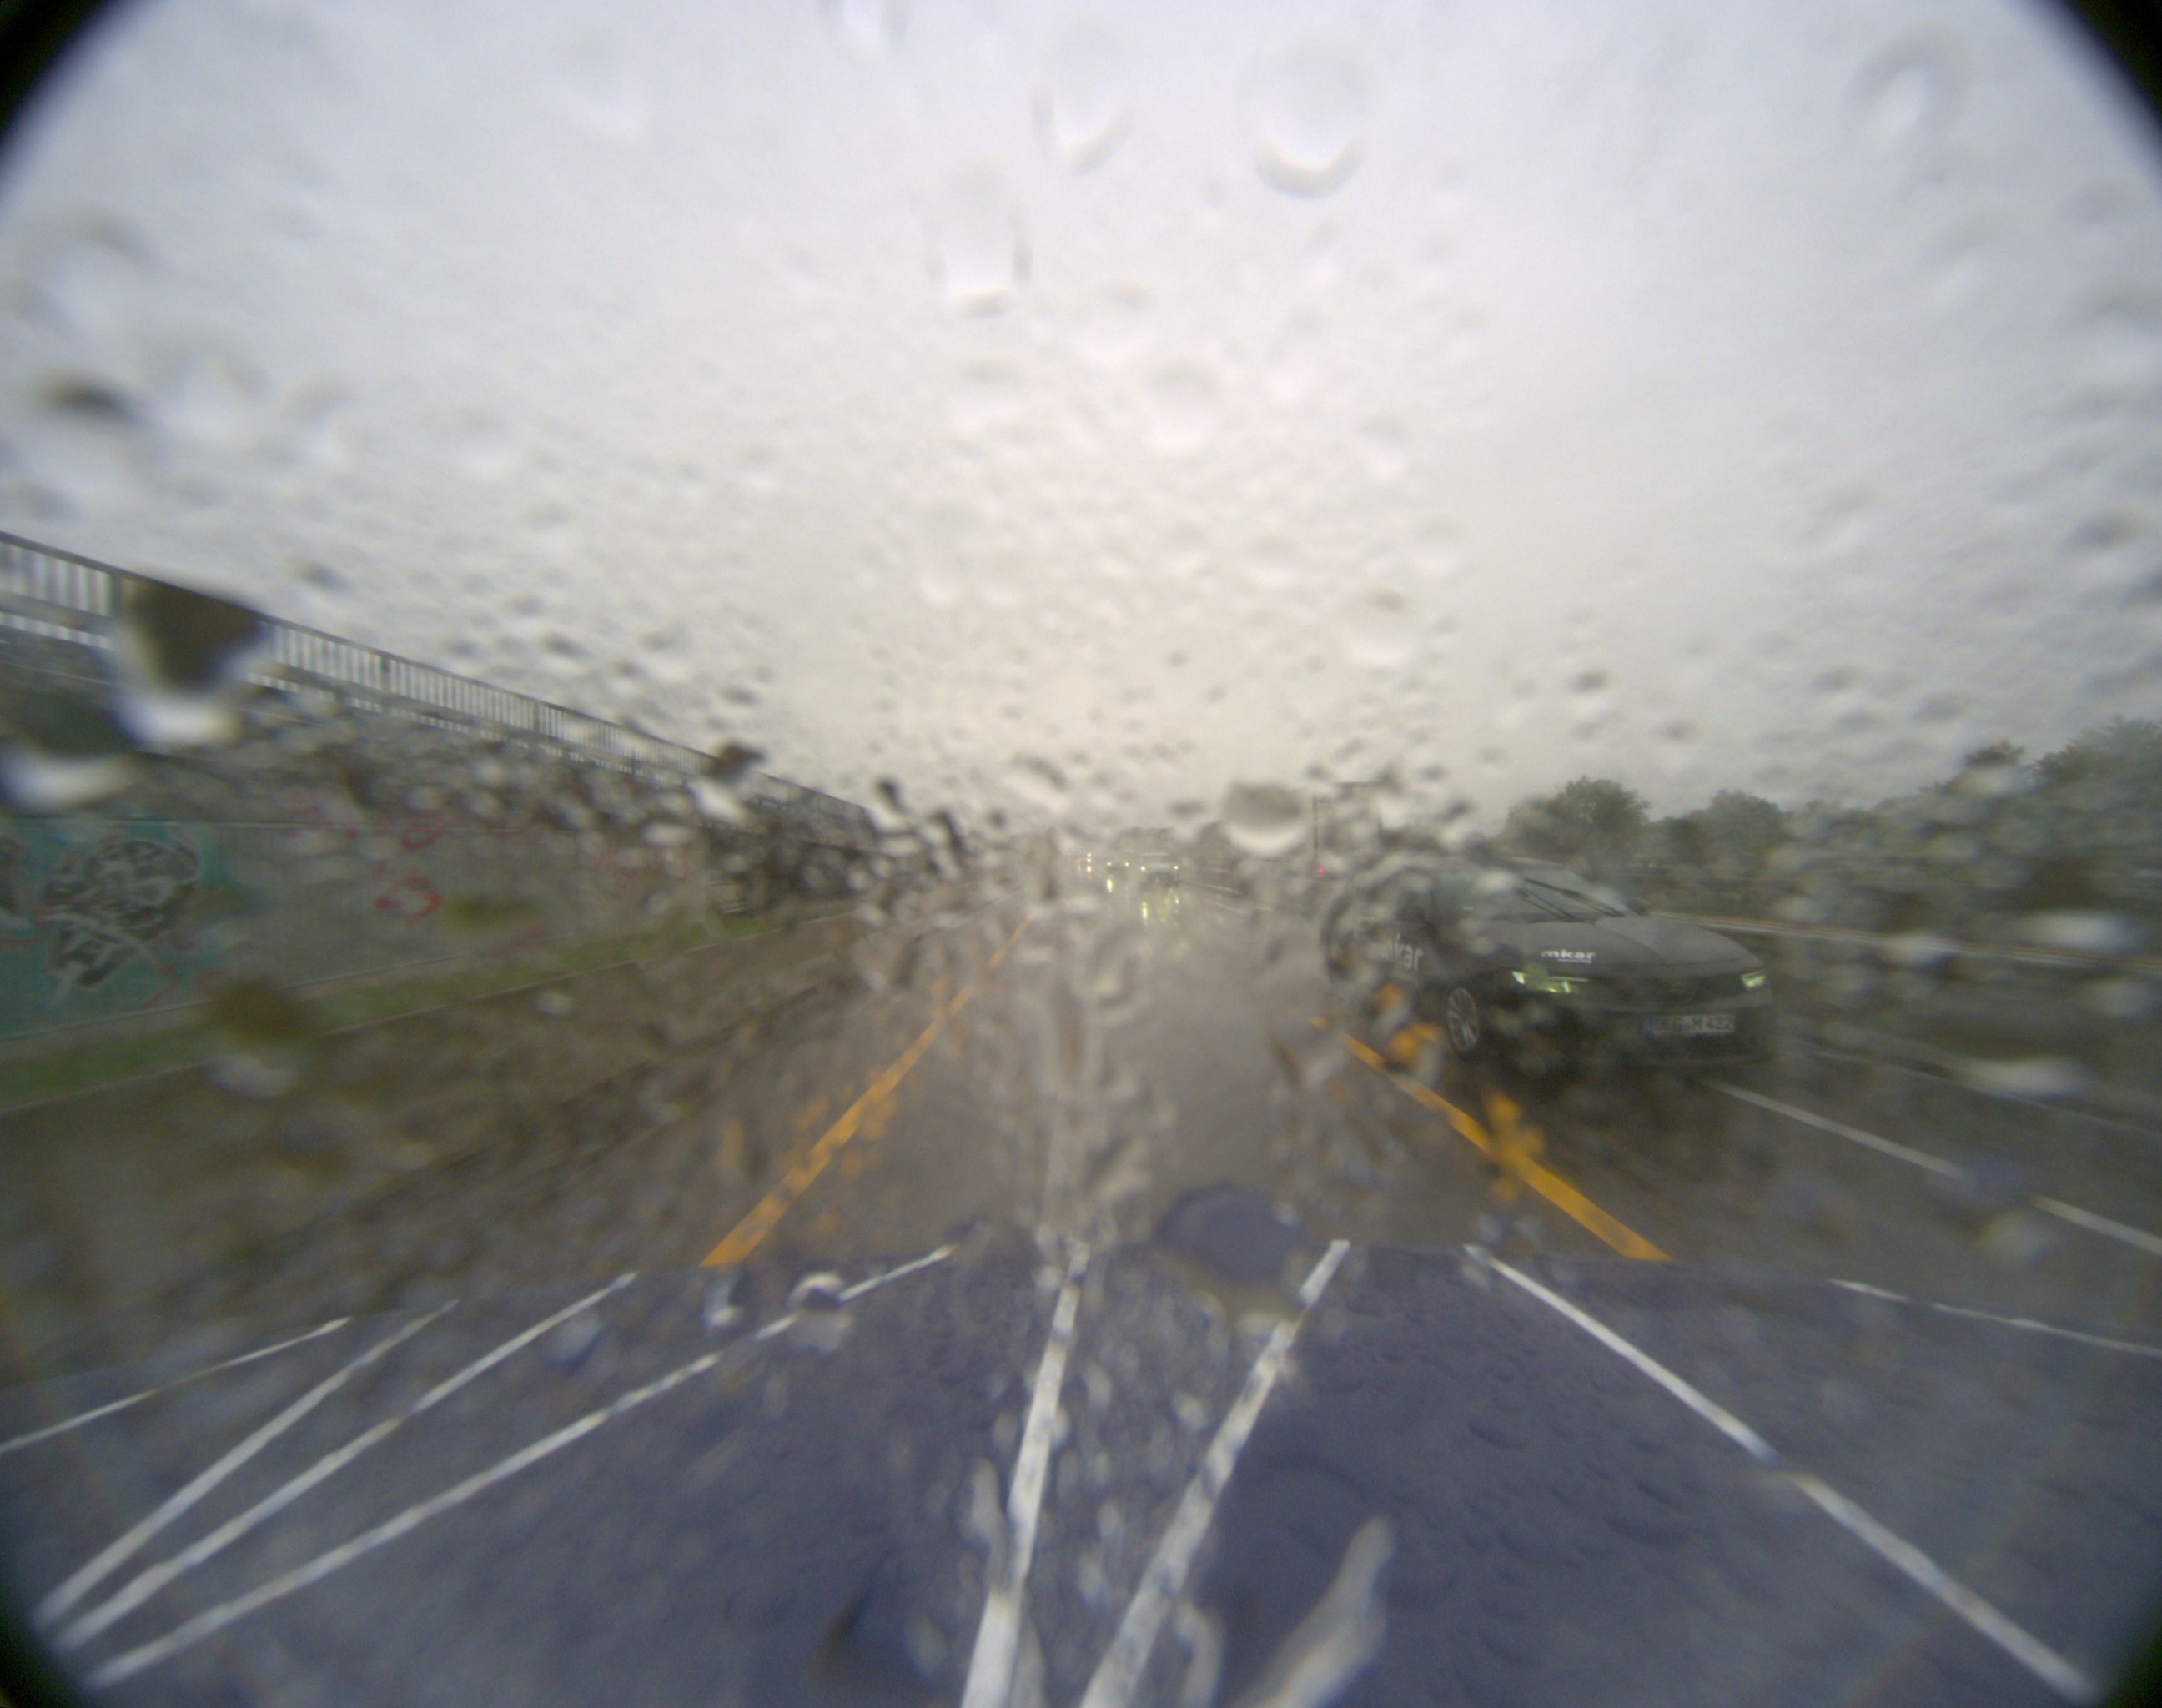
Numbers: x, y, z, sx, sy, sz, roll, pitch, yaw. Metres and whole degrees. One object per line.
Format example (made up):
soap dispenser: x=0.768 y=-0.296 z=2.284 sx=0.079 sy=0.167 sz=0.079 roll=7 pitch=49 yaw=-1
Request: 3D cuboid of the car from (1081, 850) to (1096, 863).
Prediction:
car: x=1.011 y=0.326 z=110.042 sx=1.999 sy=1.762 sz=3.999 roll=-2 pitch=1 yaw=-1

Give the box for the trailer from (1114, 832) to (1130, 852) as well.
trailer: x=9.201 y=-2.734 z=170.139 sx=2.657 sy=4.085 sz=12.311 roll=-2 pitch=1 yaw=0

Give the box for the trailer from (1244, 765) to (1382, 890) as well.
trailer: x=9.984 y=-1.105 z=34.446 sx=2.553 sy=4.563 sz=12.007 roll=-2 pitch=1 yaw=1

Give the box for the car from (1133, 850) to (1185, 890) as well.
car: x=3.649 y=0.706 z=36.248 sx=1.972 sy=1.670 sz=3.999 roll=-2 pitch=1 yaw=-1

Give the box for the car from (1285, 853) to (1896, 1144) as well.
car: x=3.415 y=0.778 z=6.505 sx=1.944 sy=1.518 sz=4.795 roll=-1 pitch=0 yaw=-1

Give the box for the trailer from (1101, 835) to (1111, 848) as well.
trailer: x=8.260 y=-4.209 z=253.847 sx=2.693 sy=4.253 sz=13.067 roll=-2 pitch=1 yaw=0

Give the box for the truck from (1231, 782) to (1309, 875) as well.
truck: x=10.068 y=-1.340 z=41.126 sx=2.566 sy=4.577 sz=6.451 roll=-2 pitch=1 yaw=1

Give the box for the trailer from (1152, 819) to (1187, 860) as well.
trailer: x=10.040 y=-1.669 z=87.348 sx=2.491 sy=4.418 sz=11.192 roll=-2 pitch=1 yaw=0

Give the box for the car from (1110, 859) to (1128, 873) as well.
car: x=3.211 y=1.024 z=65.021 sx=1.335 sy=1.105 sz=3.198 roll=1 pitch=0 yaw=0
